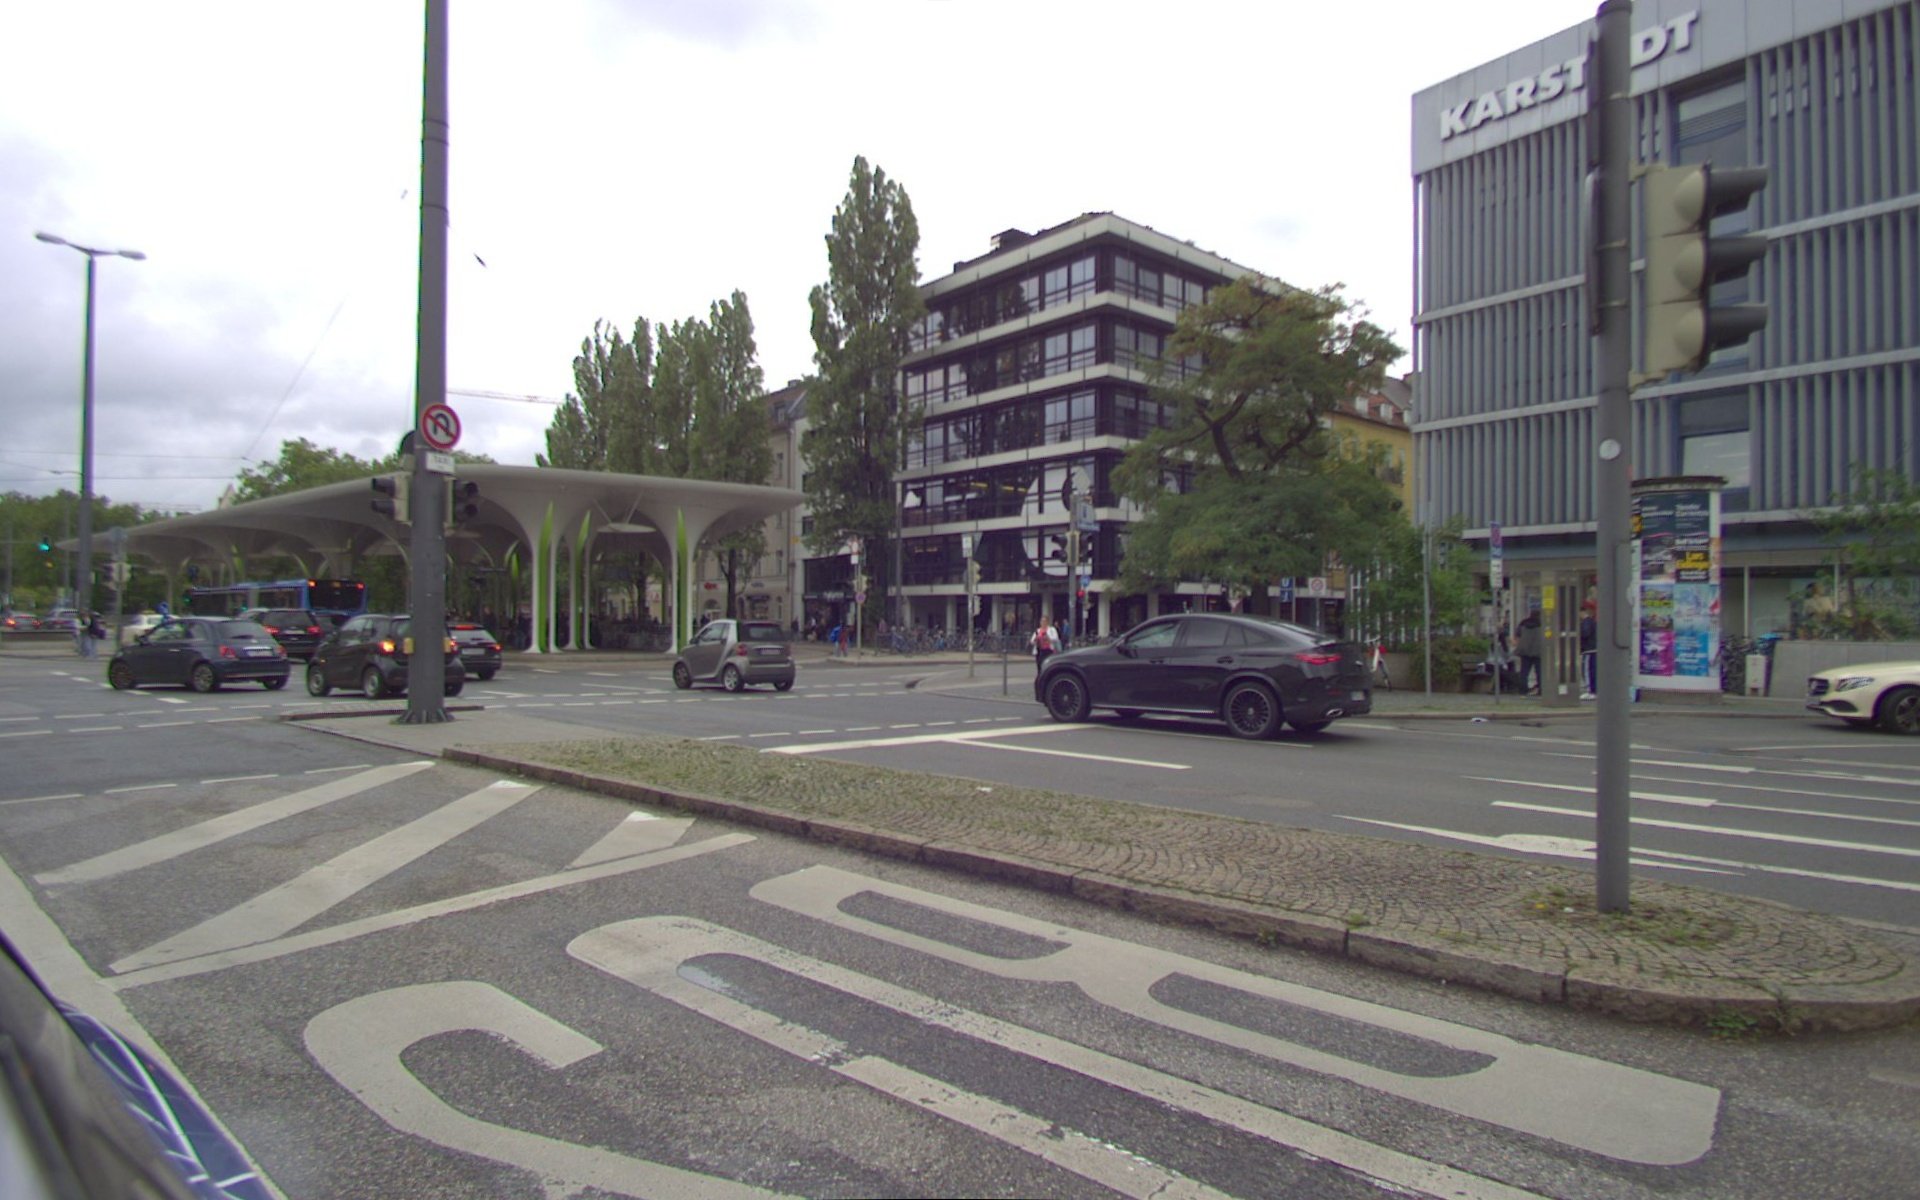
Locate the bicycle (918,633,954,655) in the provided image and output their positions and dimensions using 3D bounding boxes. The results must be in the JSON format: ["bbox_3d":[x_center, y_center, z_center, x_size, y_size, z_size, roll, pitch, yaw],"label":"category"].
[{"bbox_3d":[-1.271,2.344,53.970,2.044,1.142,0.561,2,-2,-44],"label":"bicycle"}]

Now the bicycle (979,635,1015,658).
[{"bbox_3d":[1.880,2.332,50.827,2.044,1.142,0.561,2,-2,-44],"label":"bicycle"}]

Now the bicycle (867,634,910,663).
[{"bbox_3d":[-2.849,1.922,40.255,1.660,1.106,0.470,0,-2,17],"label":"bicycle"}]

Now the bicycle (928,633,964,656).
[{"bbox_3d":[-0.723,2.341,53.476,2.044,1.142,0.561,2,-2,-44],"label":"bicycle"}]

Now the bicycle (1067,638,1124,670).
[{"bbox_3d":[4.449,1.770,33.442,1.925,1.006,0.503,-1,-2,42],"label":"bicycle"}]

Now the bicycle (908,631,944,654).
[{"bbox_3d":[-1.608,1.995,47.637,1.655,1.106,0.472,0,-2,7],"label":"bicycle"}]

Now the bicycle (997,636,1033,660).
[{"bbox_3d":[2.726,2.330,49.816,2.044,1.142,0.561,2,-2,-44],"label":"bicycle"}]

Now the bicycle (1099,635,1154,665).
[{"bbox_3d":[5.832,1.750,35.460,1.925,1.006,0.503,-1,-2,42],"label":"bicycle"}]

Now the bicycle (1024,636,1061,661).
[{"bbox_3d":[3.956,2.326,48.467,2.044,1.142,0.561,2,-2,-44],"label":"bicycle"}]

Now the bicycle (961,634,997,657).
[{"bbox_3d":[0.996,2.335,51.764,2.044,1.142,0.561,2,-2,-44],"label":"bicycle"}]

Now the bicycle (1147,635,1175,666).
[{"bbox_3d":[6.965,1.742,35.097,0.503,1.006,1.926,0,-1,-2],"label":"bicycle"}]

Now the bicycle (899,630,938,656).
[{"bbox_3d":[-1.826,1.894,44.714,1.660,1.106,0.470,0,-2,17],"label":"bicycle"}]

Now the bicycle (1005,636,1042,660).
[{"bbox_3d":[3.101,2.329,49.338,2.044,1.142,0.561,2,-2,-44],"label":"bicycle"}]

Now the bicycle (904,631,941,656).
[{"bbox_3d":[-1.730,1.979,46.370,1.655,1.106,0.472,0,-2,7],"label":"bicycle"}]

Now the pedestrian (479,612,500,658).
[{"bbox_3d":[-19.126,1.415,41.127,0.656,1.865,0.790,1,-2,-29],"label":"pedestrian"}]

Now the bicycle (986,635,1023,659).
[{"bbox_3d":[2.217,2.332,50.312,2.044,1.142,0.561,2,-2,-44],"label":"bicycle"}]

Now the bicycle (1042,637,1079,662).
[{"bbox_3d":[4.747,2.323,47.683,2.044,1.142,0.561,2,-2,-44],"label":"bicycle"}]

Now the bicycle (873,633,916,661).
[{"bbox_3d":[-2.650,1.917,41.035,1.660,1.106,0.470,0,-2,17],"label":"bicycle"}]

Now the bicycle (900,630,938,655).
[{"bbox_3d":[-1.840,1.890,45.430,1.660,1.106,0.470,0,-2,17],"label":"bicycle"}]

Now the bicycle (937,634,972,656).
[{"bbox_3d":[-0.271,2.340,53.052,2.044,1.142,0.561,2,-2,-44],"label":"bicycle"}]

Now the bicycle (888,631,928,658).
[{"bbox_3d":[-2.218,1.903,43.361,1.660,1.106,0.470,0,-2,17],"label":"bicycle"}]

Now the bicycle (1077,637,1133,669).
[{"bbox_3d":[4.834,1.765,33.844,1.925,1.006,0.503,-1,-2,42],"label":"bicycle"}]

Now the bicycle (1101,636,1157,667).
[{"bbox_3d":[5.771,1.754,34.574,1.925,1.006,0.503,-1,-2,42],"label":"bicycle"}]

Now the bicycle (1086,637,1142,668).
[{"bbox_3d":[5.224,1.760,34.335,1.925,1.006,0.503,-1,-2,42],"label":"bicycle"}]

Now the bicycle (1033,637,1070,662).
[{"bbox_3d":[4.345,2.325,48.092,2.044,1.142,0.561,2,-2,-44],"label":"bicycle"}]

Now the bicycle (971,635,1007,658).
[{"bbox_3d":[1.466,2.334,51.285,2.044,1.142,0.561,2,-2,-44],"label":"bicycle"}]

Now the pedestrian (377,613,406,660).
[{"bbox_3d":[-21.628,1.399,38.496,0.787,1.762,0.702,-1,-2,40],"label":"pedestrian"}]

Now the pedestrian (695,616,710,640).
[{"bbox_3d":[-18.536,1.997,72.898,0.825,1.712,0.903,0,-2,3],"label":"pedestrian"}]

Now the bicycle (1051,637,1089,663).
[{"bbox_3d":[5.156,2.322,47.303,2.044,1.142,0.561,2,-2,-44],"label":"bicycle"}]

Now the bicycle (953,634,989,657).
[{"bbox_3d":[0.584,2.337,52.180,2.044,1.142,0.561,2,-2,-44],"label":"bicycle"}]

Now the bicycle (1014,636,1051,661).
[{"bbox_3d":[3.524,2.328,48.907,2.044,1.142,0.561,2,-2,-44],"label":"bicycle"}]

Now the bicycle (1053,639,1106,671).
[{"bbox_3d":[3.910,1.778,33.102,1.750,1.006,0.503,-1,-2,42],"label":"bicycle"}]

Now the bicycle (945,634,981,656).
[{"bbox_3d":[0.153,2.338,52.605,2.044,1.142,0.561,2,-2,-44],"label":"bicycle"}]
